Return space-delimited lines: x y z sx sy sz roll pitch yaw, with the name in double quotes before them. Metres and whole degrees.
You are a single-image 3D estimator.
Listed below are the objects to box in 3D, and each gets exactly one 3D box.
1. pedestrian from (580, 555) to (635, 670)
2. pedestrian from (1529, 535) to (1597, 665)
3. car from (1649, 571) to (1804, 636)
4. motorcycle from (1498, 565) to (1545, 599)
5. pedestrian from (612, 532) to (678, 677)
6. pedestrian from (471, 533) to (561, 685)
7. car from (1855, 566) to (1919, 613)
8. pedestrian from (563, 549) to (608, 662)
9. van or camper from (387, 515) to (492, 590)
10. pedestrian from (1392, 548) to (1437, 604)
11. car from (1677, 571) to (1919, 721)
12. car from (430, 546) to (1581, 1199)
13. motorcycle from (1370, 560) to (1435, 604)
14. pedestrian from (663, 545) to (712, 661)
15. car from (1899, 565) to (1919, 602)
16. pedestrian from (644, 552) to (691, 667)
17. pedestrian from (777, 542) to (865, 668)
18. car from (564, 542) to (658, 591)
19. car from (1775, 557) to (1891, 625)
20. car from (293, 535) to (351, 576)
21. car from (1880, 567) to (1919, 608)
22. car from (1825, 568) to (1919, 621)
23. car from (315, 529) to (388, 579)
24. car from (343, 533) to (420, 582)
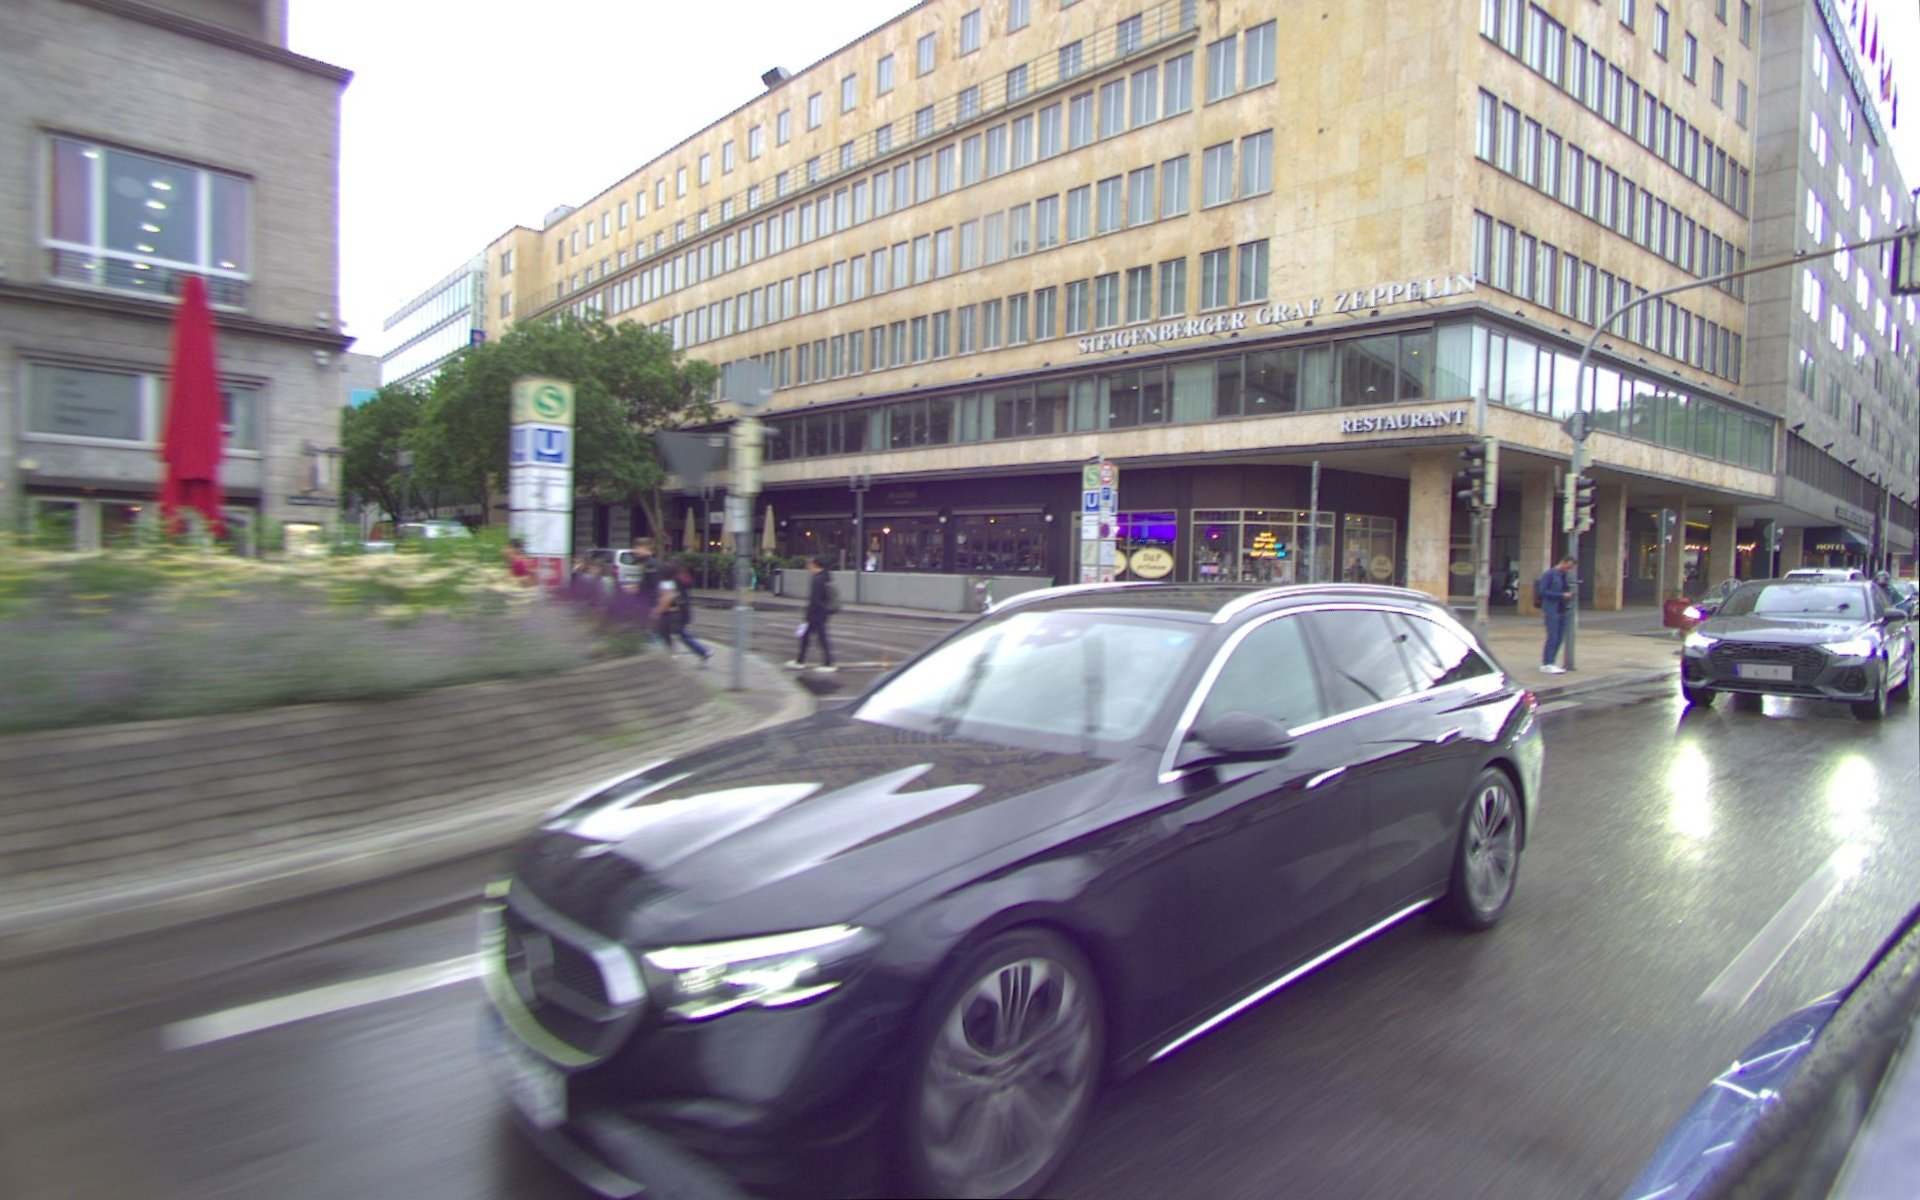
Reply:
"pedestrian" -4.873 0.152 13.982 0.580 1.548 0.555 0 1 -38
"pedestrian" 9.314 -0.012 15.638 0.779 1.942 0.674 -1 2 -41
"car" 18.994 0.016 25.018 4.405 1.431 2.193 -1 3 -41
"motorcycle" 21.466 -0.699 38.658 2.492 1.246 0.730 -1 2 -41
"pedestrian" -4.082 0.048 13.119 0.669 1.812 0.536 0 0 -38
"pedestrian" -5.402 0.092 12.320 0.823 1.773 0.698 -1 2 -44
"car" 35.877 -0.440 38.627 4.481 1.656 1.997 -1 3 -41
"pedestrian" -5.329 0.067 14.394 0.504 1.565 0.425 0 2 -38
"van or camper" -20.290 -1.824 39.314 2.452 2.672 6.006 -1 2 -39
"pedestrian" 15.718 -0.850 35.005 1.089 1.869 1.001 -1 3 -39
"car" 10.525 0.417 12.453 4.092 1.526 1.875 -1 3 -41
"car" 0.652 0.578 4.031 4.619 1.482 1.821 -1 2 -41
"motorcycle" 15.457 -0.647 35.307 2.801 1.471 0.963 -1 2 -41
"pedestrian" -3.960 0.034 14.714 0.486 1.650 0.627 0 1 -37
"car" 44.499 -0.751 46.124 4.833 1.634 1.997 -1 3 -41
"pedestrian" -4.021 0.120 13.909 0.462 1.540 0.500 0 1 -38
"pedestrian" -2.071 0.049 15.027 0.968 1.783 0.894 -1 2 -39
"car" -14.950 -1.434 43.194 1.966 1.949 5.157 0 2 -42
"car" 26.537 -0.319 30.709 4.910 1.908 1.997 -1 2 -41
"car" -34.779 -2.421 55.109 2.061 2.128 4.295 -1 2 -41
"car" 40.353 -0.546 42.514 4.792 1.629 1.997 -1 3 -41
"car" 31.468 -0.246 34.747 5.046 1.674 1.997 -1 3 -41
"car" -29.831 -2.231 49.542 2.294 2.324 4.691 -1 2 -41
"car" -25.795 -1.899 45.041 2.126 2.073 4.406 -1 3 -42
